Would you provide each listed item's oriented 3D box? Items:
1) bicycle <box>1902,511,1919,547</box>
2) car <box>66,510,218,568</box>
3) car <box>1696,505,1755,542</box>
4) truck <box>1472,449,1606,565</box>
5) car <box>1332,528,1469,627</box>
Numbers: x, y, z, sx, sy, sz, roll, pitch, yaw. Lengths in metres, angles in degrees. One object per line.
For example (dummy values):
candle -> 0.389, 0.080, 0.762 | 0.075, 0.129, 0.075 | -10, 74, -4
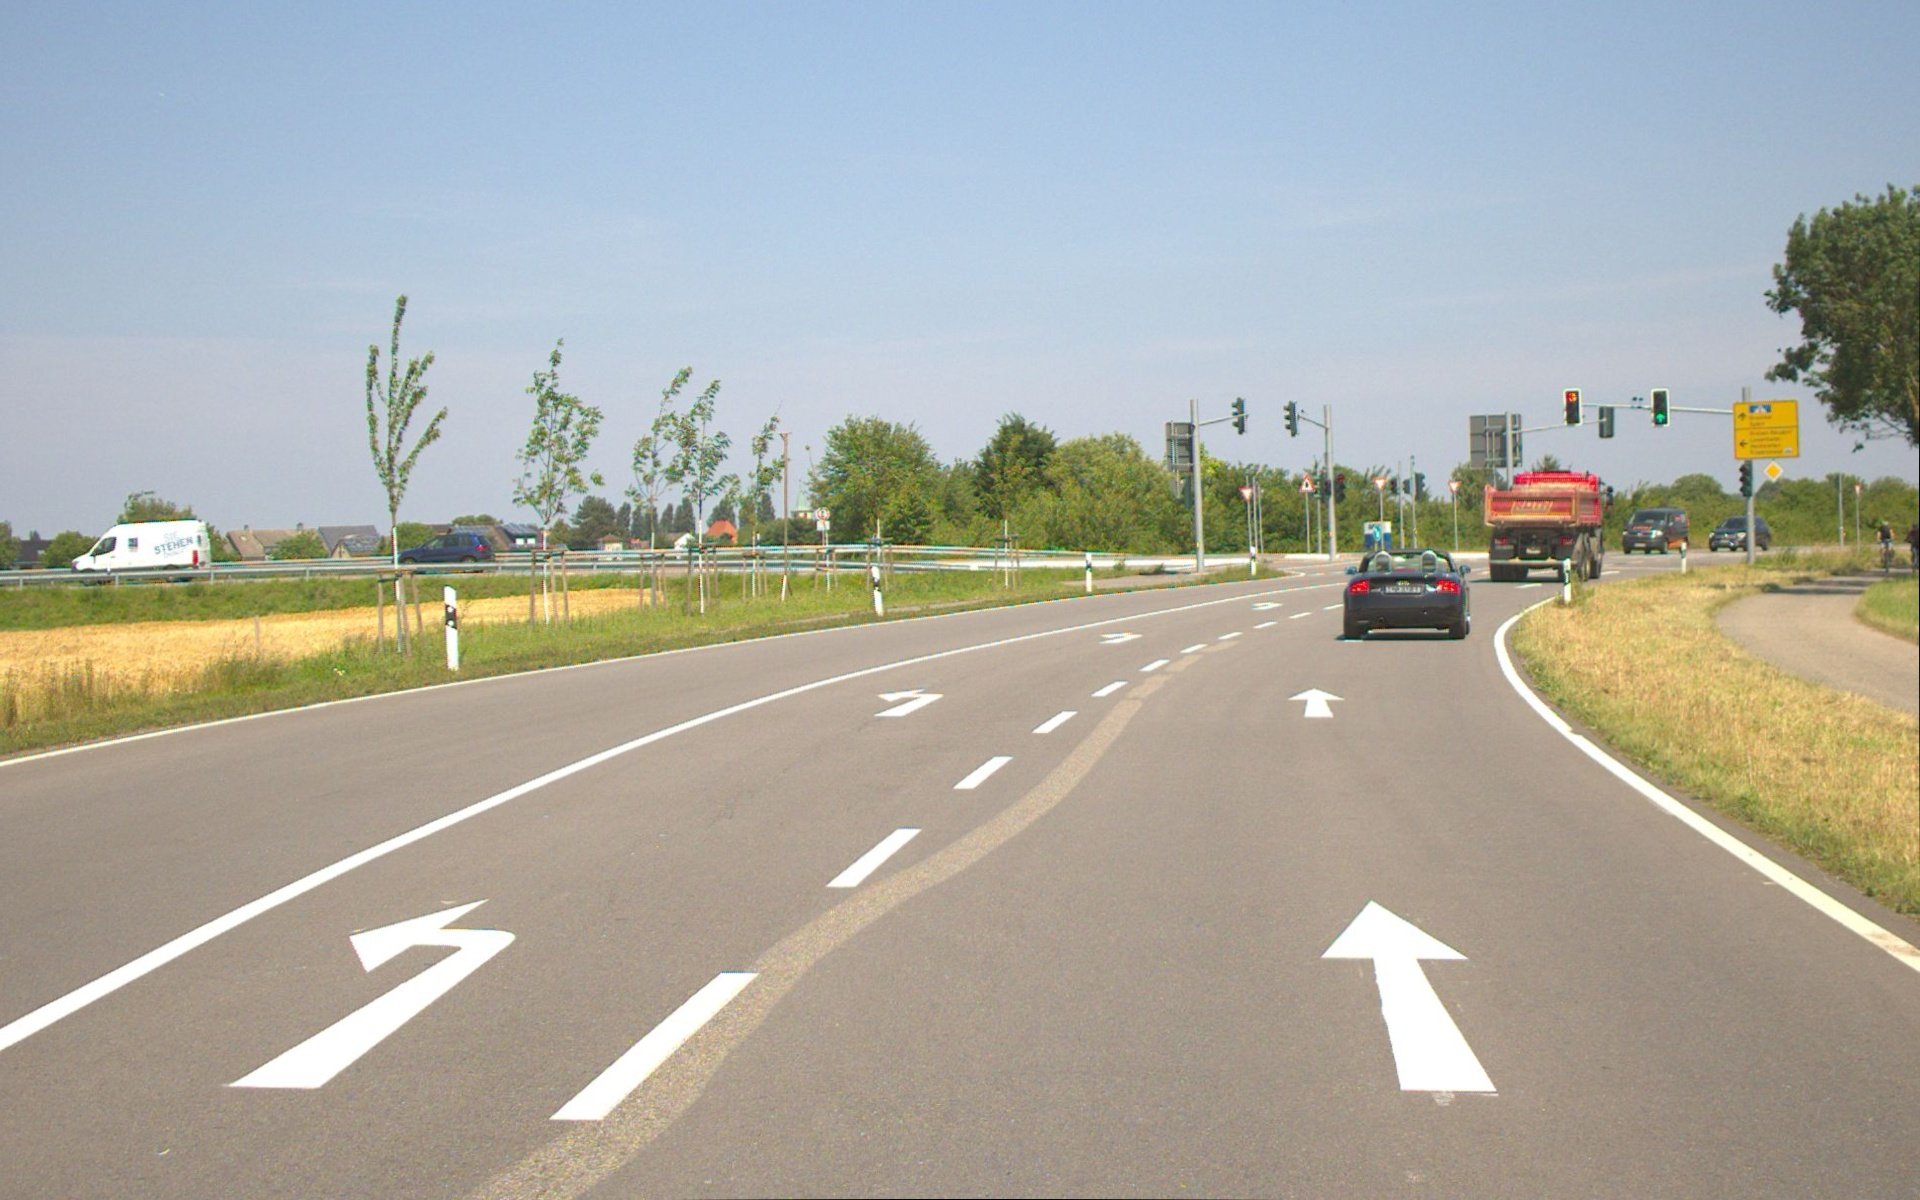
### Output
bicycle -> 32.507, -2.417, 116.915 | 0.699, 1.206, 2.049 | 2, 2, 21
car -> -35.066, -2.608, 147.429 | 5.918, 2.413, 2.247 | -1, 1, 5
car -> 36.622, -3.660, 164.347 | 1.933, 1.733, 4.884 | 0, 2, 22
truck -> 16.258, -2.540, 96.177 | 2.716, 3.042, 8.158 | 0, 0, 16
car -> 6.457, -0.327, 50.130 | 1.748, 1.371, 3.677 | 1, 0, 11
